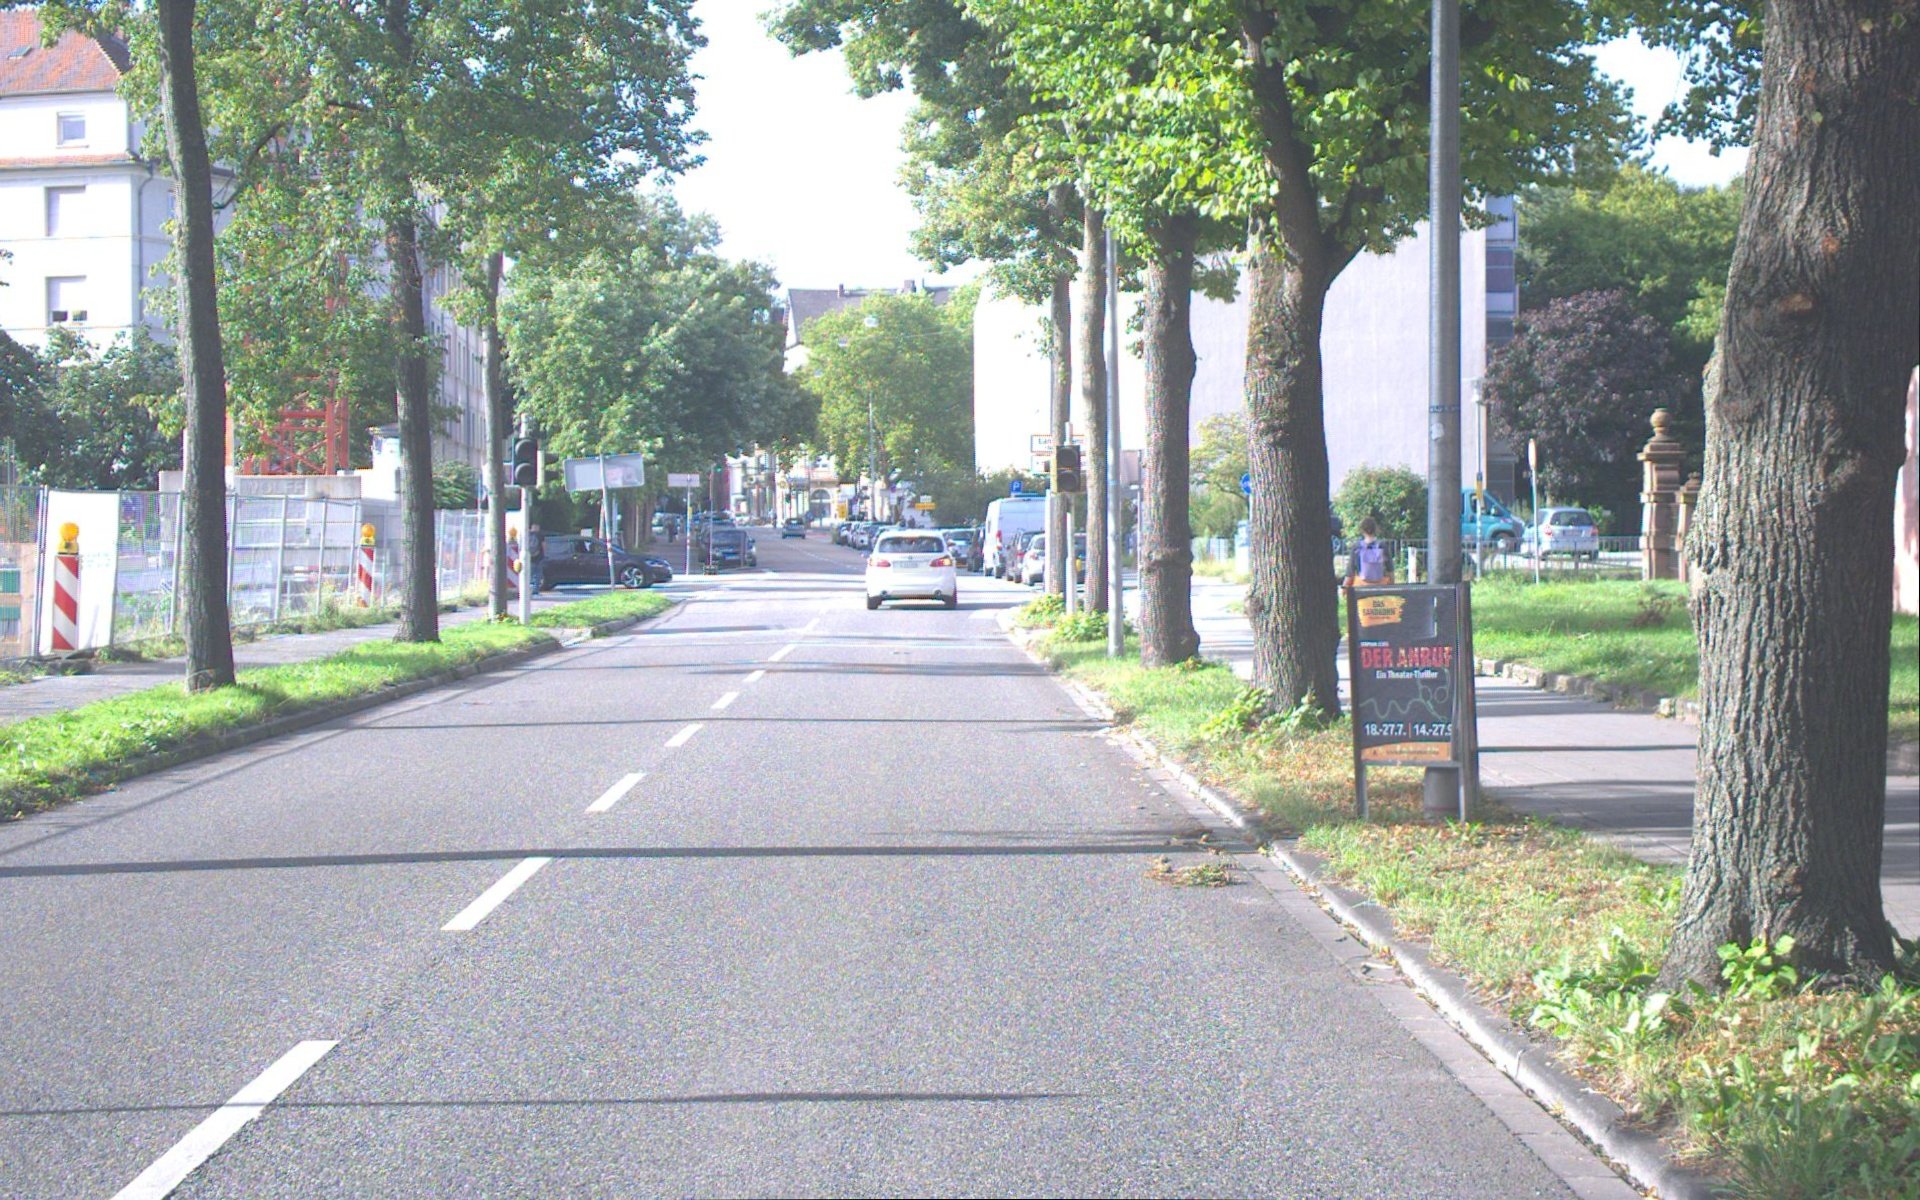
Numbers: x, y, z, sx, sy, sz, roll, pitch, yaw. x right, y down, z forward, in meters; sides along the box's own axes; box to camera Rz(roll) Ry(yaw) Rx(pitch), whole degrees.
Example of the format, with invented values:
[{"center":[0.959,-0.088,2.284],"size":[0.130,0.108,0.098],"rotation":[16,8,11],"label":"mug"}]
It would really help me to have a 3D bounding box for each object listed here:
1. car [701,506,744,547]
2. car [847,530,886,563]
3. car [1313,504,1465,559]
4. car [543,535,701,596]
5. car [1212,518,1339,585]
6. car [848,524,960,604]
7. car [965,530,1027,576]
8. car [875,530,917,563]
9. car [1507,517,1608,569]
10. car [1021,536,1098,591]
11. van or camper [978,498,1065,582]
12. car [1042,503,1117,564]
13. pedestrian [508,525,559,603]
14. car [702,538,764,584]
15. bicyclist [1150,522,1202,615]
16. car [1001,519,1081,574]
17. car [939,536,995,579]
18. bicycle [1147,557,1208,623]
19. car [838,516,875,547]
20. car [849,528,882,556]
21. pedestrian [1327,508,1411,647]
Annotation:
[{"center":[-11.923,-3.718,172.943],"size":[1.993,2.007,4.001],"rotation":[-1,1,-2],"label":"car"},{"center":[-5.031,-2.897,185.906],"size":[1.993,1.749,4.000],"rotation":[1,1,0],"label":"car"},{"center":[13.120,-2.096,105.358],"size":[4.448,1.616,2.000],"rotation":[-1,1,3],"label":"car"},{"center":[-9.103,-0.948,92.434],"size":[3.996,1.565,1.995],"rotation":[2,1,40],"label":"car"},{"center":[10.491,-1.631,114.585],"size":[4.119,2.178,2.000],"rotation":[-1,1,3],"label":"car"},{"center":[-1.168,-0.736,69.638],"size":[1.993,1.549,4.275],"rotation":[1,1,-4],"label":"car"},{"center":[1.260,-1.663,121.068],"size":[1.993,1.568,4.001],"rotation":[-1,1,-2],"label":"car"},{"center":[-3.169,-2.648,169.138],"size":[1.993,1.568,4.001],"rotation":[-1,1,-2],"label":"car"},{"center":[17.219,-1.666,99.204],"size":[1.993,1.437,4.001],"rotation":[-1,1,-4],"label":"car"},{"center":[2.783,-1.028,97.288],"size":[2.015,1.470,4.802],"rotation":[-1,1,0],"label":"car"},{"center":[1.945,-1.926,110.136],"size":[2.209,2.598,5.373],"rotation":[-1,1,-5],"label":"van or camper"},{"center":[3.021,-1.679,87.542],"size":[1.717,1.491,4.268],"rotation":[-1,1,0],"label":"car"},{"center":[-9.535,-0.800,76.767],"size":[1.006,1.722,1.178],"rotation":[0,0,-13],"label":"pedestrian"},{"center":[-8.366,-1.451,126.410],"size":[1.993,1.634,4.001],"rotation":[-1,1,-7],"label":"car"},{"center":[3.585,-0.528,57.190],"size":[0.737,1.508,0.875],"rotation":[-2,1,-1],"label":"bicyclist"},{"center":[2.421,-1.629,104.109],"size":[1.993,1.610,4.409],"rotation":[-1,1,-4],"label":"car"},{"center":[0.242,-1.655,131.697],"size":[1.993,1.568,4.001],"rotation":[-1,1,-2],"label":"car"},{"center":[3.604,-0.183,57.158],"size":[0.740,1.031,2.762],"rotation":[-2,1,-1],"label":"bicycle"},{"center":[-5.943,-3.947,197.832],"size":[1.993,1.749,4.000],"rotation":[1,1,0],"label":"car"},{"center":[-5.977,-3.693,218.443],"size":[1.993,1.749,4.000],"rotation":[1,1,0],"label":"car"},{"center":[4.781,-0.269,40.216],"size":[0.814,1.585,0.769],"rotation":[-2,1,-2],"label":"pedestrian"}]
